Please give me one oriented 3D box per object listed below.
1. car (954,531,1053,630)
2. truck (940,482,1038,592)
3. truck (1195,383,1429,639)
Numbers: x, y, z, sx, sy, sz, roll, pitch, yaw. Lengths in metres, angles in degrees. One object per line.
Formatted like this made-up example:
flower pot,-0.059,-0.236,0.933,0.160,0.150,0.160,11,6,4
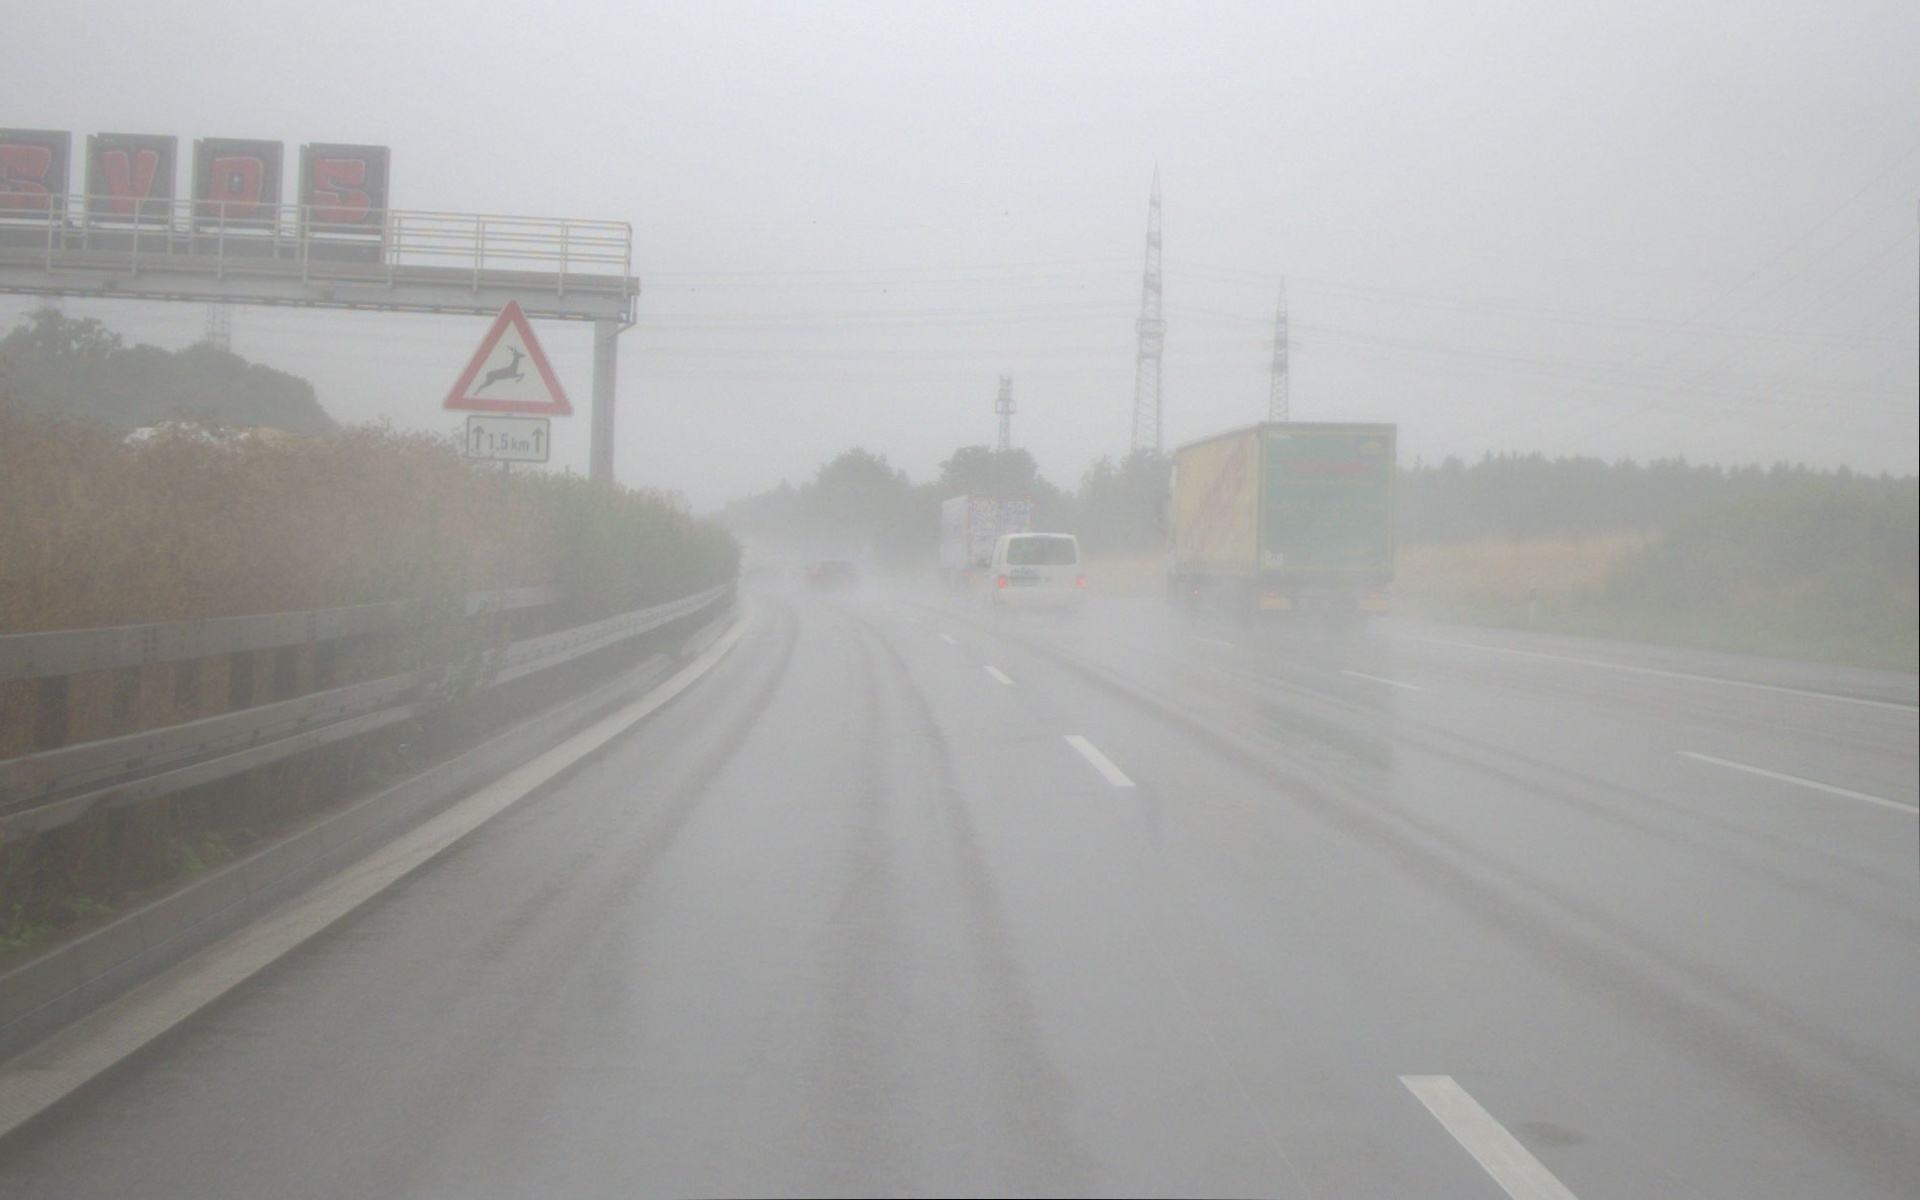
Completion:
car,0.941,-0.437,72.267,1.993,2.007,4.000,1,1,2
truck,1.119,-2.563,139.883,3.232,4.296,8.838,1,1,-4
truck,6.996,-1.714,70.746,4.190,4.614,16.103,1,1,4
